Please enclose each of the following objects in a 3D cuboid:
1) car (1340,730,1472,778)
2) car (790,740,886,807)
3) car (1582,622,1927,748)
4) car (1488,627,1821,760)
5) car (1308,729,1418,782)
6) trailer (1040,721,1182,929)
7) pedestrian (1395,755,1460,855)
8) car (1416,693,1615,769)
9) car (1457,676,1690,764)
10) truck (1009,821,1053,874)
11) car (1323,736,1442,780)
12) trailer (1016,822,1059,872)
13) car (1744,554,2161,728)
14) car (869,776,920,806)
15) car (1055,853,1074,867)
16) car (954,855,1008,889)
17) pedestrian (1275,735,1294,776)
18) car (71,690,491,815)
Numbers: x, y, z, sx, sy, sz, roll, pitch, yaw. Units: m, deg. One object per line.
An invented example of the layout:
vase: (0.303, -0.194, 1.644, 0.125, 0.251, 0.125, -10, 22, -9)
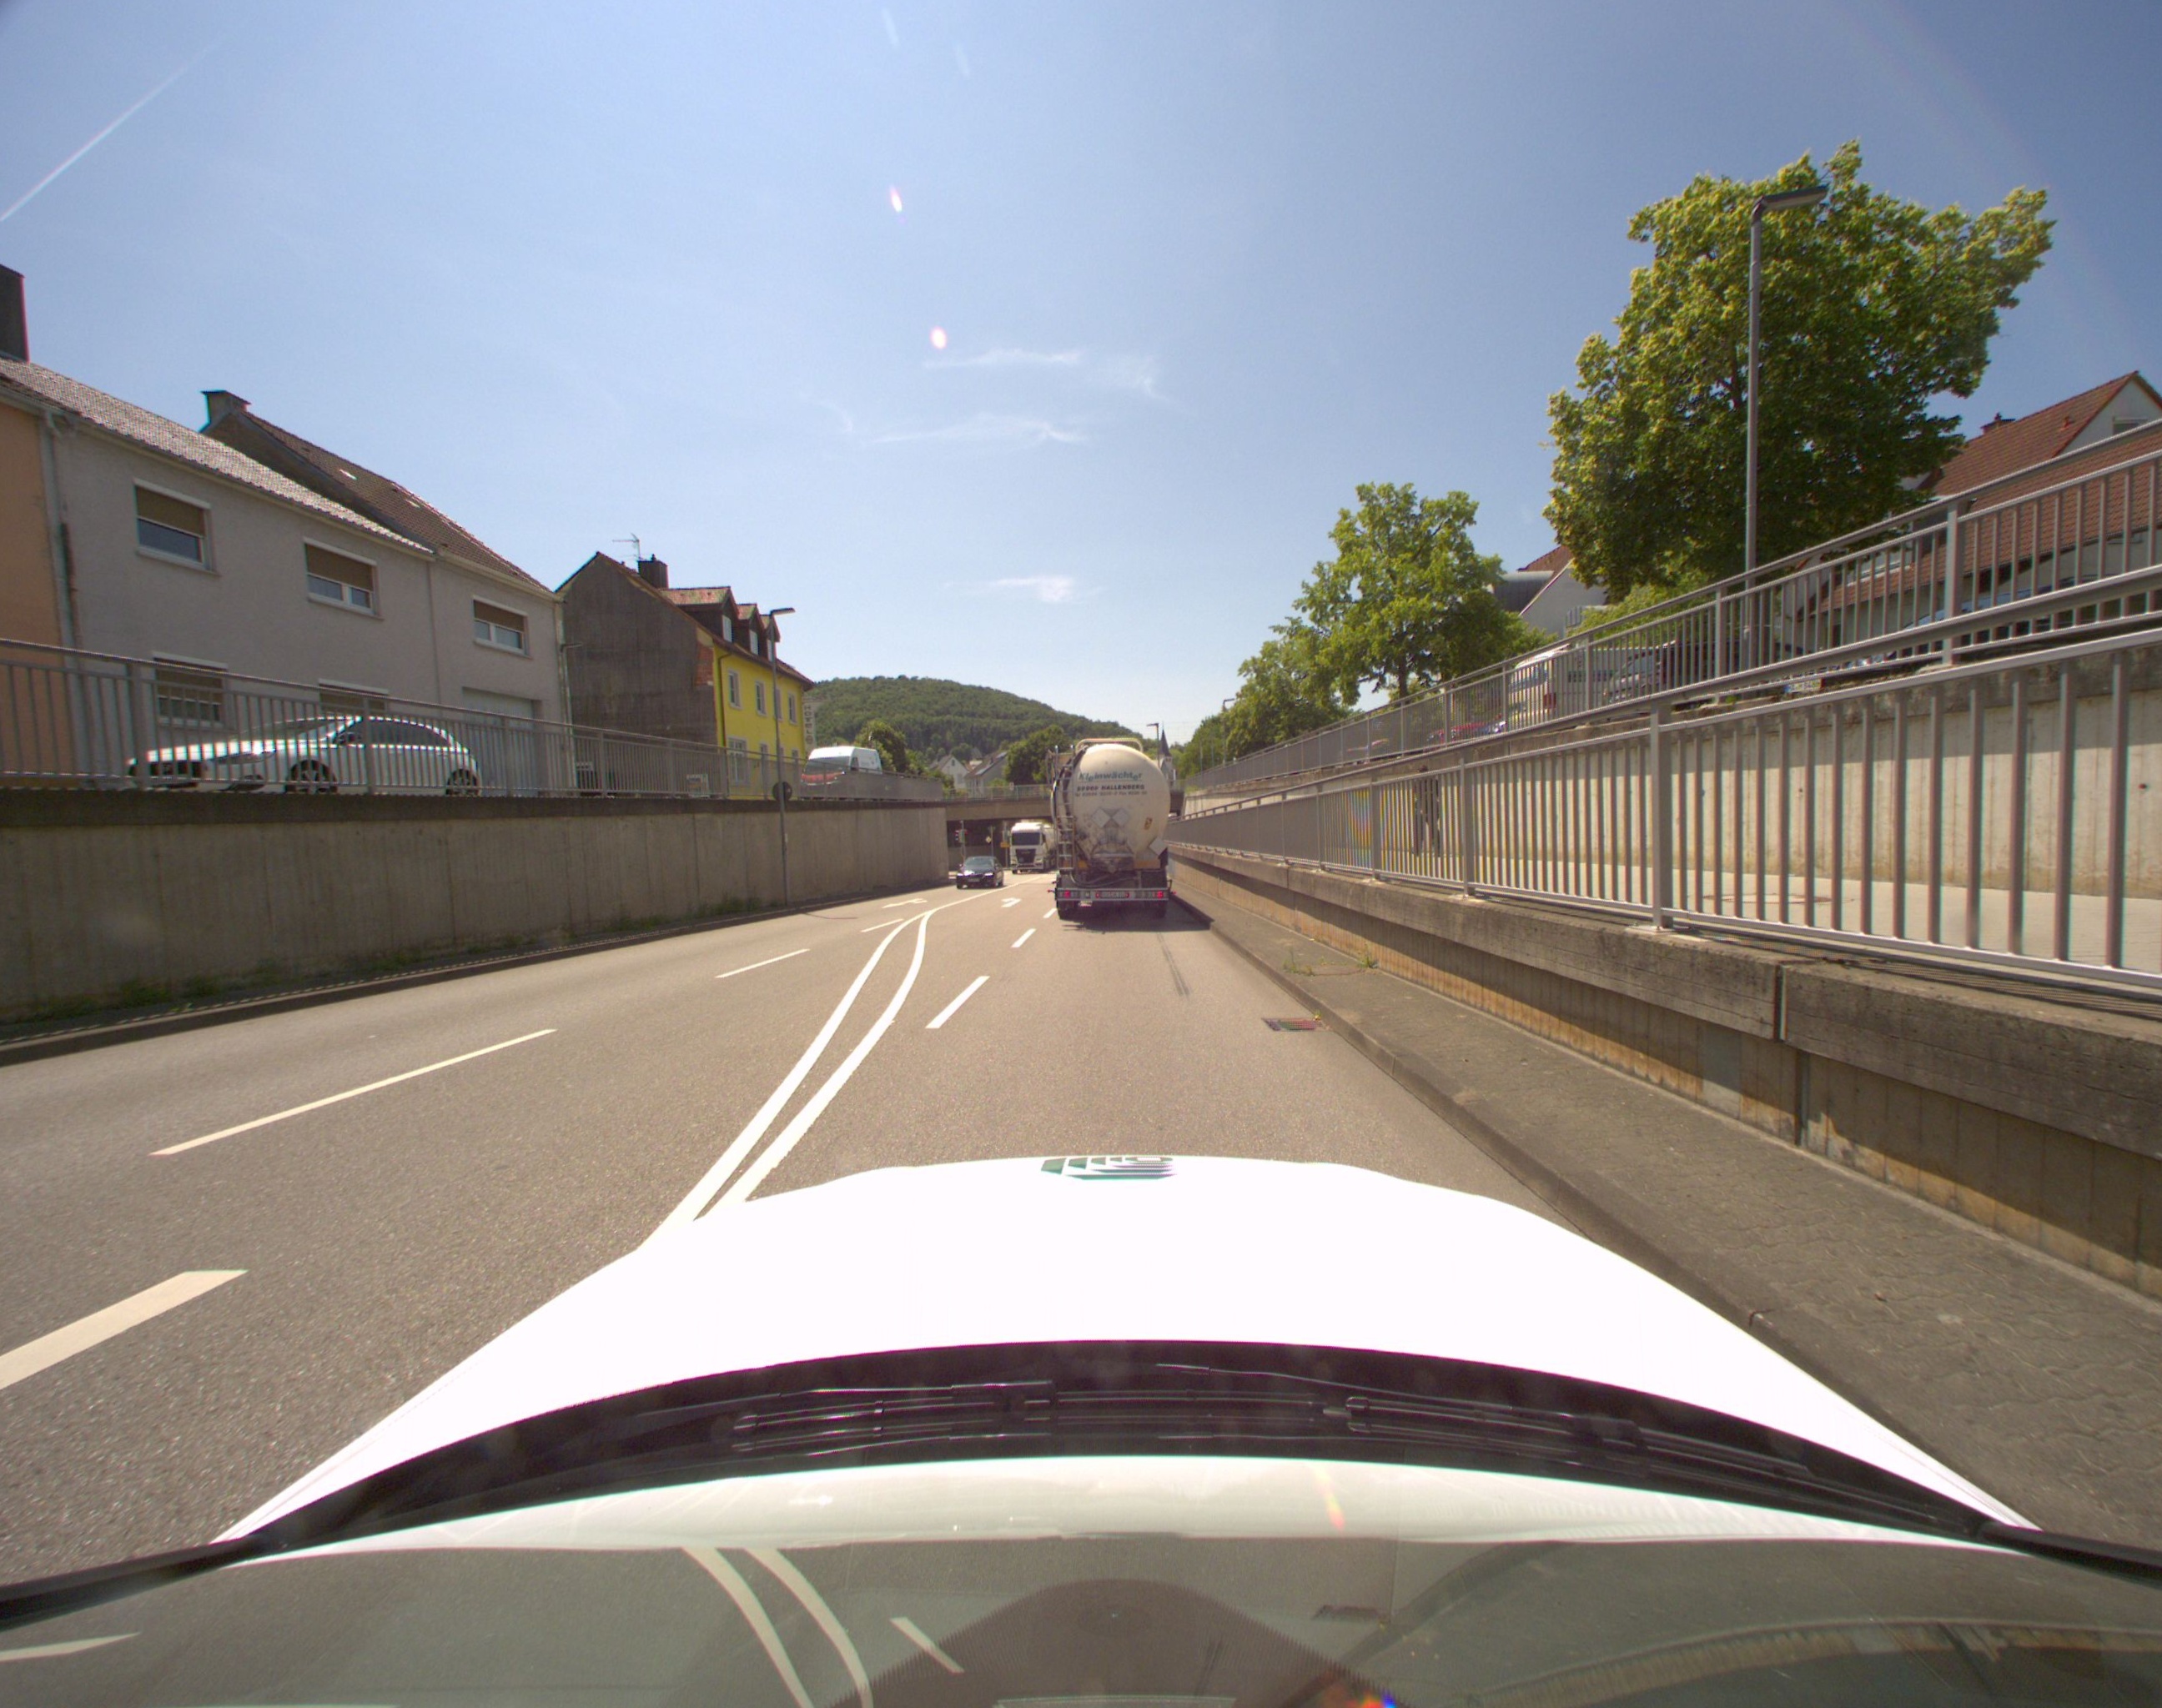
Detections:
car: (11.163, -3.430, 28.129, 3.889, 1.367, 1.688, -2, 3, 3)
car: (-10.046, -3.262, 34.223, 2.057, 2.535, 5.667, -1, 3, 3)
car: (10.811, -2.680, 13.308, 4.187, 1.595, 1.688, -2, 3, 3)
car: (11.038, -3.062, 15.993, 5.091, 2.063, 1.991, -2, 3, 3)
car: (11.373, -3.965, 32.999, 3.889, 1.884, 1.688, -2, 3, 3)
trailer: (0.943, -0.582, 22.717, 2.723, 4.064, 13.323, -1, 0, 3)
pedestrian: (6.431, -0.899, 15.145, 0.833, 1.781, 0.789, -2, 1, 2)
car: (11.005, -3.099, 20.837, 4.187, 1.595, 1.688, -2, 3, 3)
car: (10.899, -2.943, 18.234, 4.187, 1.595, 1.688, -2, 3, 3)
truck: (-3.884, -0.483, 64.407, 2.651, 3.860, 6.585, -1, 0, 3)
car: (11.251, -3.570, 30.568, 3.889, 1.367, 1.688, -2, 3, 3)
trailer: (-3.614, -0.543, 70.054, 2.599, 3.964, 9.353, -1, 0, 3)
car: (10.565, -2.404, 9.457, 4.268, 1.498, 1.750, -2, 3, 3)
car: (-9.820, -3.294, 43.075, 1.612, 1.500, 4.047, -1, 3, 2)
car: (-1.696, 0.640, 86.237, 1.675, 1.440, 4.097, 1, 0, 3)
car: (-4.648, 0.802, 38.320, 1.753, 1.489, 4.371, -1, 0, 3)
pedestrian: (9.055, -4.385, 36.273, 0.670, 1.779, 0.595, -2, 2, 4)
car: (-11.081, -1.334, 11.858, 1.808, 1.462, 4.309, -1, 3, -1)
